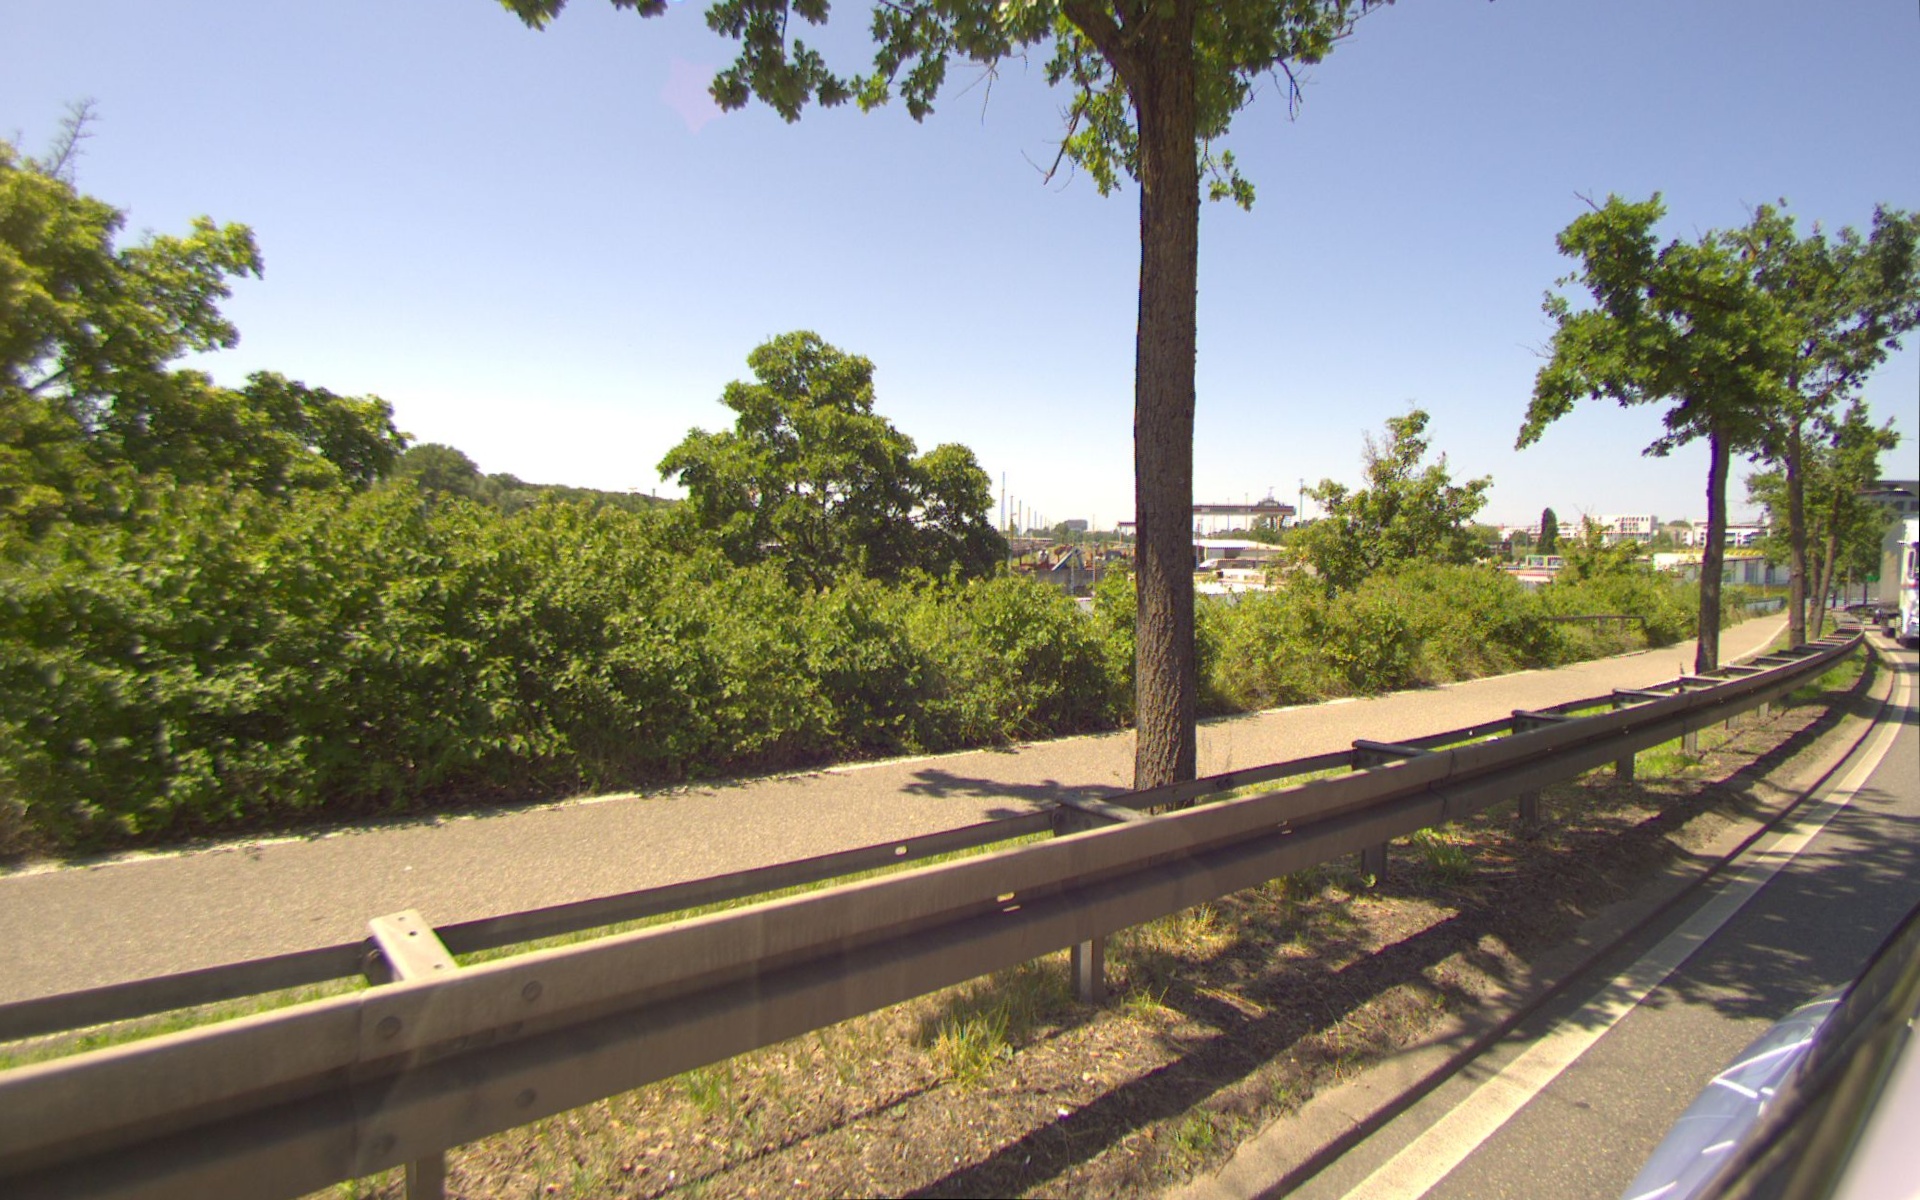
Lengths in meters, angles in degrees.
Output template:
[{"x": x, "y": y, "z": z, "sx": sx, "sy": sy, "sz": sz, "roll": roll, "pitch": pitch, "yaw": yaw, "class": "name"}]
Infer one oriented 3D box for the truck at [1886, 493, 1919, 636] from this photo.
[{"x": 34.806, "y": -1.124, "z": 35.324, "sx": 3.059, "sy": 4.223, "sz": 16.664, "roll": 0, "pitch": 1, "yaw": 40, "class": "truck"}]
